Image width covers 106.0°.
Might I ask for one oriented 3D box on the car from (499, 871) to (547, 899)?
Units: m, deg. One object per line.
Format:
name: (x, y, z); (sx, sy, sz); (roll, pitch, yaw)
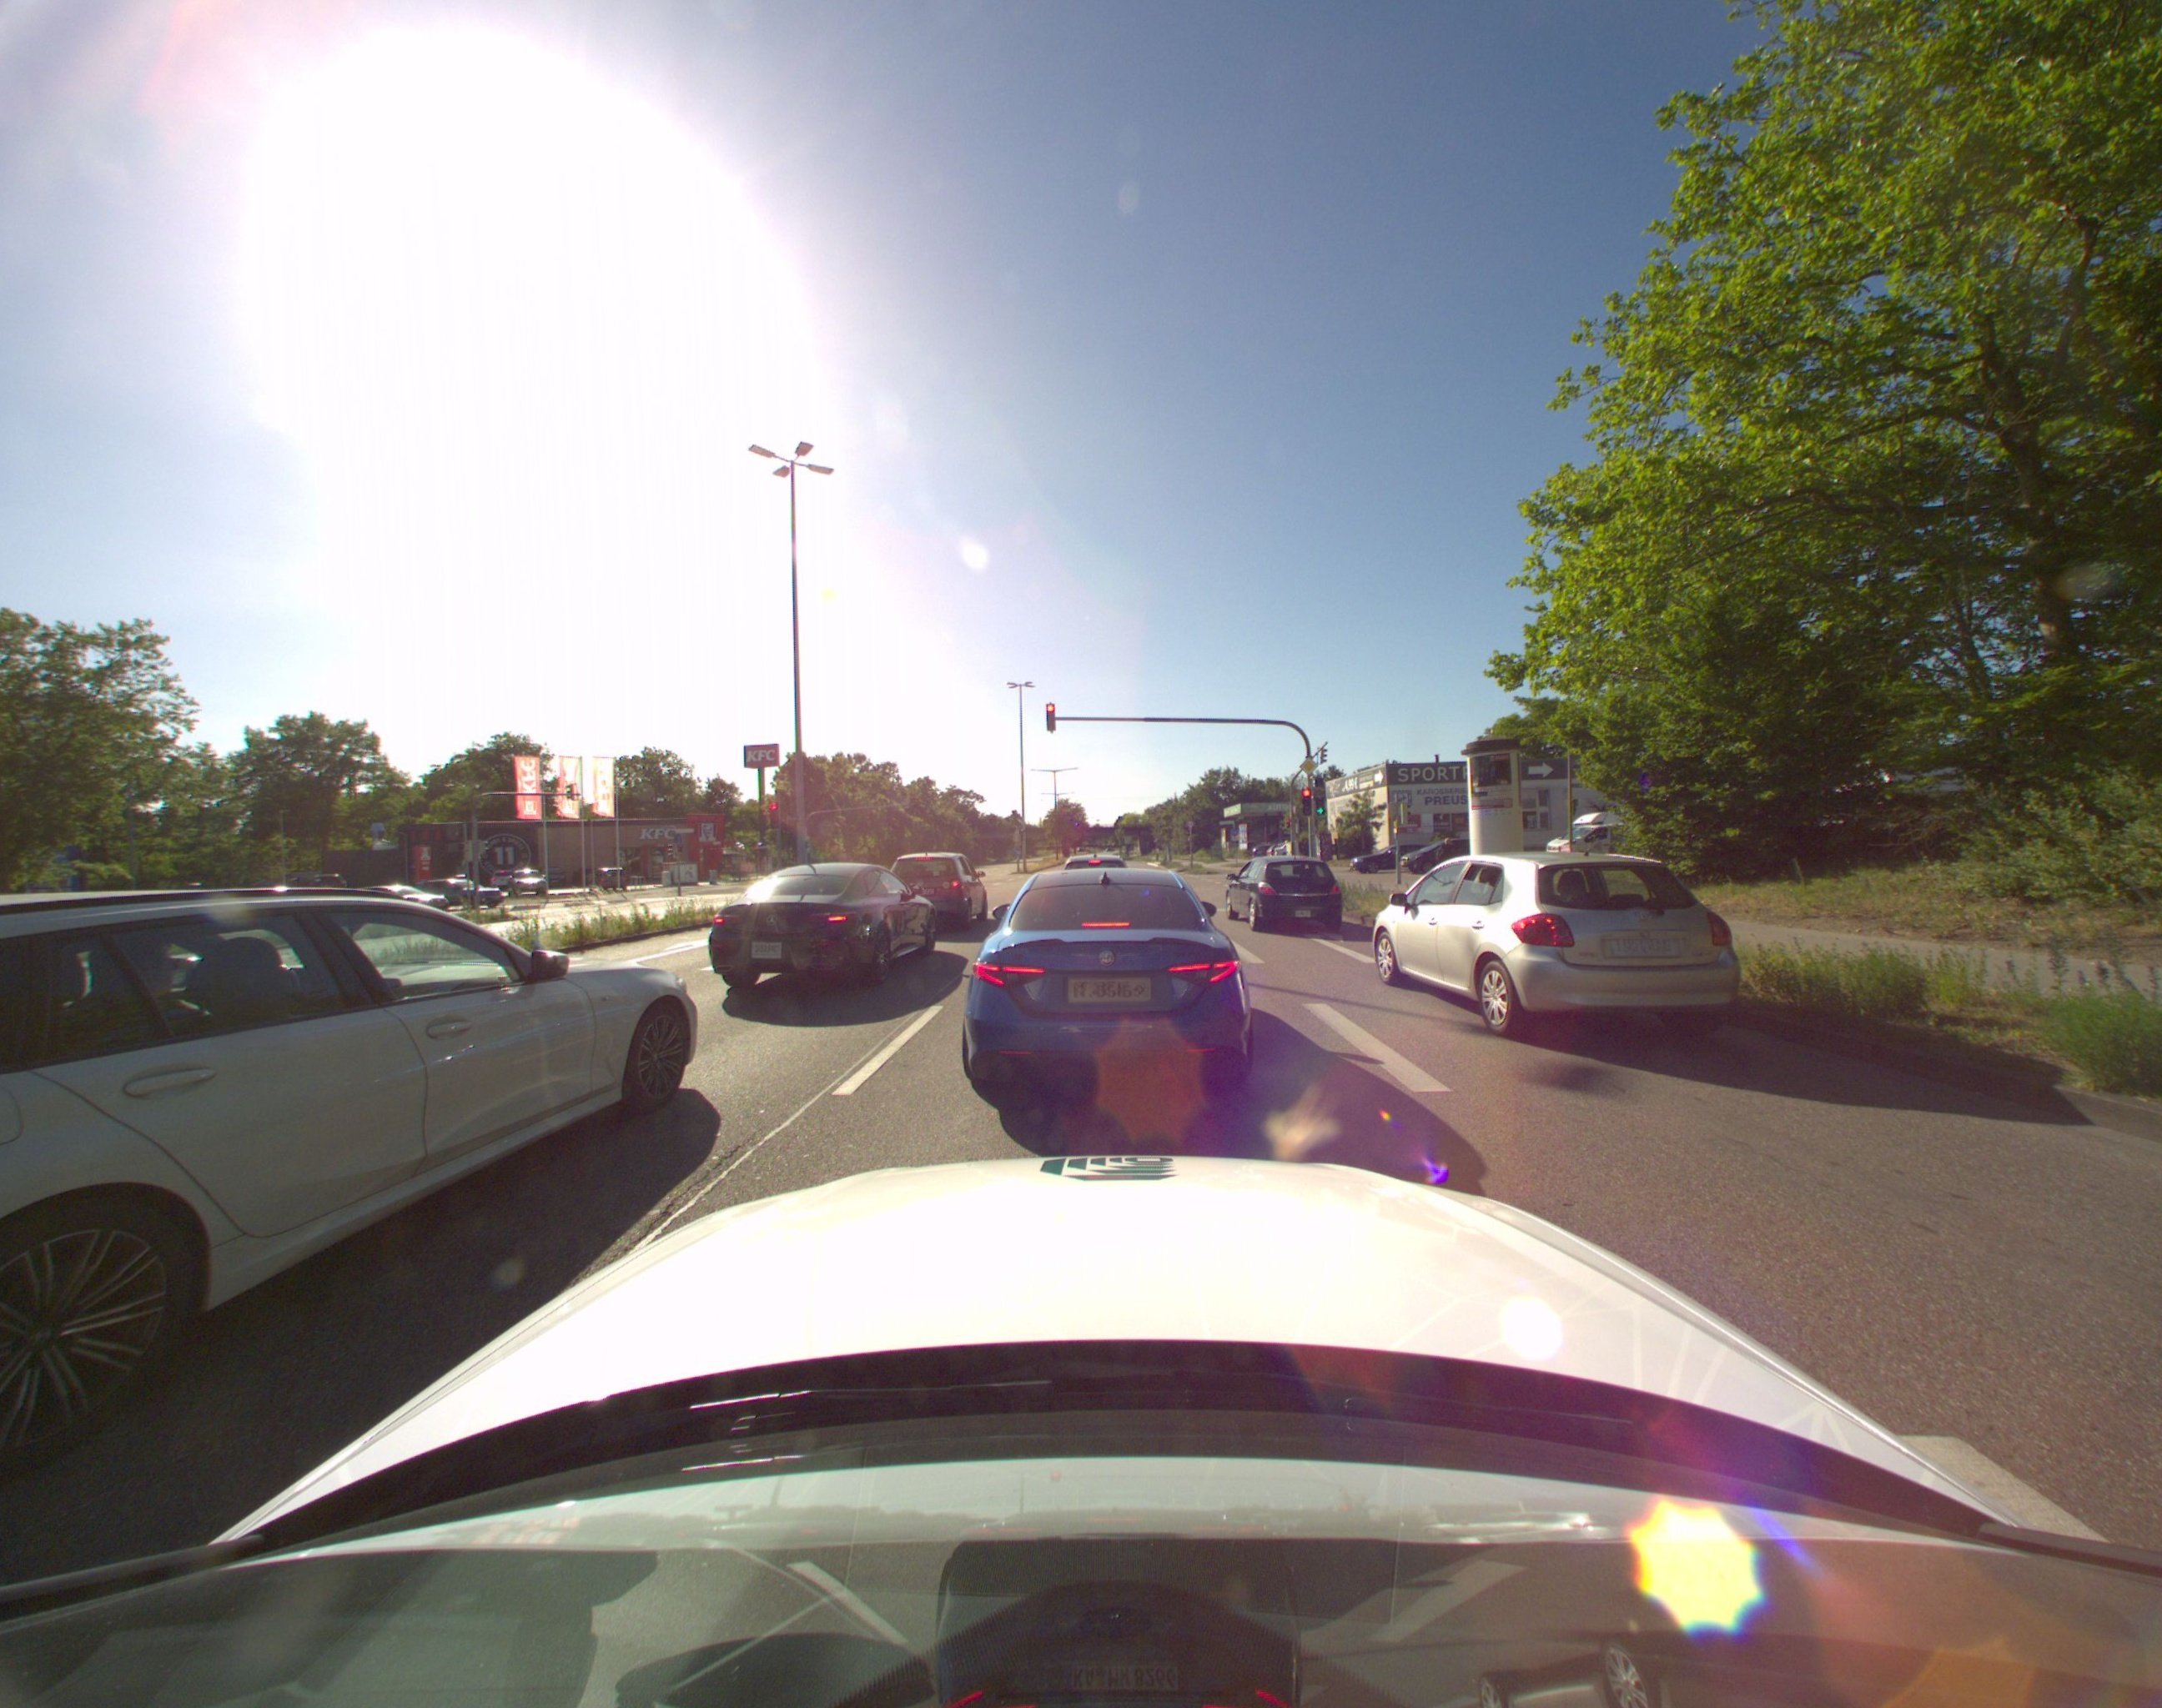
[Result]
car: (-37.386, 2.021, 54.539); (1.946, 1.740, 4.046); (0, -1, -45)

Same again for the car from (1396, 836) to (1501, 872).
car: (17.530, 0.011, 39.002); (4.291, 1.650, 1.638); (0, -1, 1)

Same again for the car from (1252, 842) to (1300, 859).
car: (17.812, -0.308, 74.441); (3.971, 1.552, 2.001); (0, -1, 2)

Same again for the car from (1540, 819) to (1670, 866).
car: (24.970, -0.525, 38.932); (4.937, 2.035, 1.881); (-2, -1, 0)

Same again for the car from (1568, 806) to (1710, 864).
car: (28.842, -0.932, 42.235); (5.812, 2.672, 2.001); (-3, -1, 2)

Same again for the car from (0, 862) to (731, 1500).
car: (-3.454, 0.825, 3.406); (1.805, 1.486, 4.599); (-1, 0, 2)

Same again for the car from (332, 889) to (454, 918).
car: (-32.188, 2.315, 38.193); (4.070, 1.252, 1.871); (0, -1, 0)

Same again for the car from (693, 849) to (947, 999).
car: (-3.112, 0.730, 10.829); (1.806, 1.551, 4.544); (-1, 0, 1)

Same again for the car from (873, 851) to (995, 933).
car: (-3.012, 0.739, 17.607); (1.806, 1.551, 4.353); (0, -1, 0)

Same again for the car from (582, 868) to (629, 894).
car: (-33.919, 1.866, 58.010); (1.946, 1.740, 4.046); (0, -1, -45)

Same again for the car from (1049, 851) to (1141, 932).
car: (0.371, 0.721, 17.051); (1.696, 1.497, 3.722); (0, -1, 3)

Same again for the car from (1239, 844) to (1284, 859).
car: (18.379, -0.254, 82.819); (3.995, 1.552, 1.989); (0, -1, -16)

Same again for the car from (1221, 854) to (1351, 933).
car: (4.113, 0.723, 17.019); (1.727, 1.442, 4.373); (0, 0, 2)

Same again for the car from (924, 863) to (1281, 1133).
car: (0.221, 0.787, 6.219); (1.901, 1.423, 3.722); (0, -1, 3)

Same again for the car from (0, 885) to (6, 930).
car: (-35.215, 1.733, 24.650); (2.008, 1.442, 3.958); (0, -1, -33)

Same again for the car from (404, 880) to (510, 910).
car: (-31.925, 2.094, 41.736); (3.940, 1.453, 1.937); (0, -1, 1)

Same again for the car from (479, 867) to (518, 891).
car: (-45.471, 1.894, 63.555); (2.011, 1.813, 3.727); (0, -1, -43)

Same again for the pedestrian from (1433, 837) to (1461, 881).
pedestrian: (14.185, 0.188, 31.567); (0.814, 1.669, 0.514); (0, -1, 1)

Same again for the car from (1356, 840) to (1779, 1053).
car: (4.224, 0.666, 7.967); (1.777, 1.537, 4.109); (0, 0, 2)

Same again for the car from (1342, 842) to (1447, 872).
car: (16.231, 0.170, 42.348); (4.803, 1.468, 1.758); (0, -1, 0)

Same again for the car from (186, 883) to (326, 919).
car: (-39.101, 2.188, 38.675); (4.608, 1.579, 1.936); (0, -1, 0)
